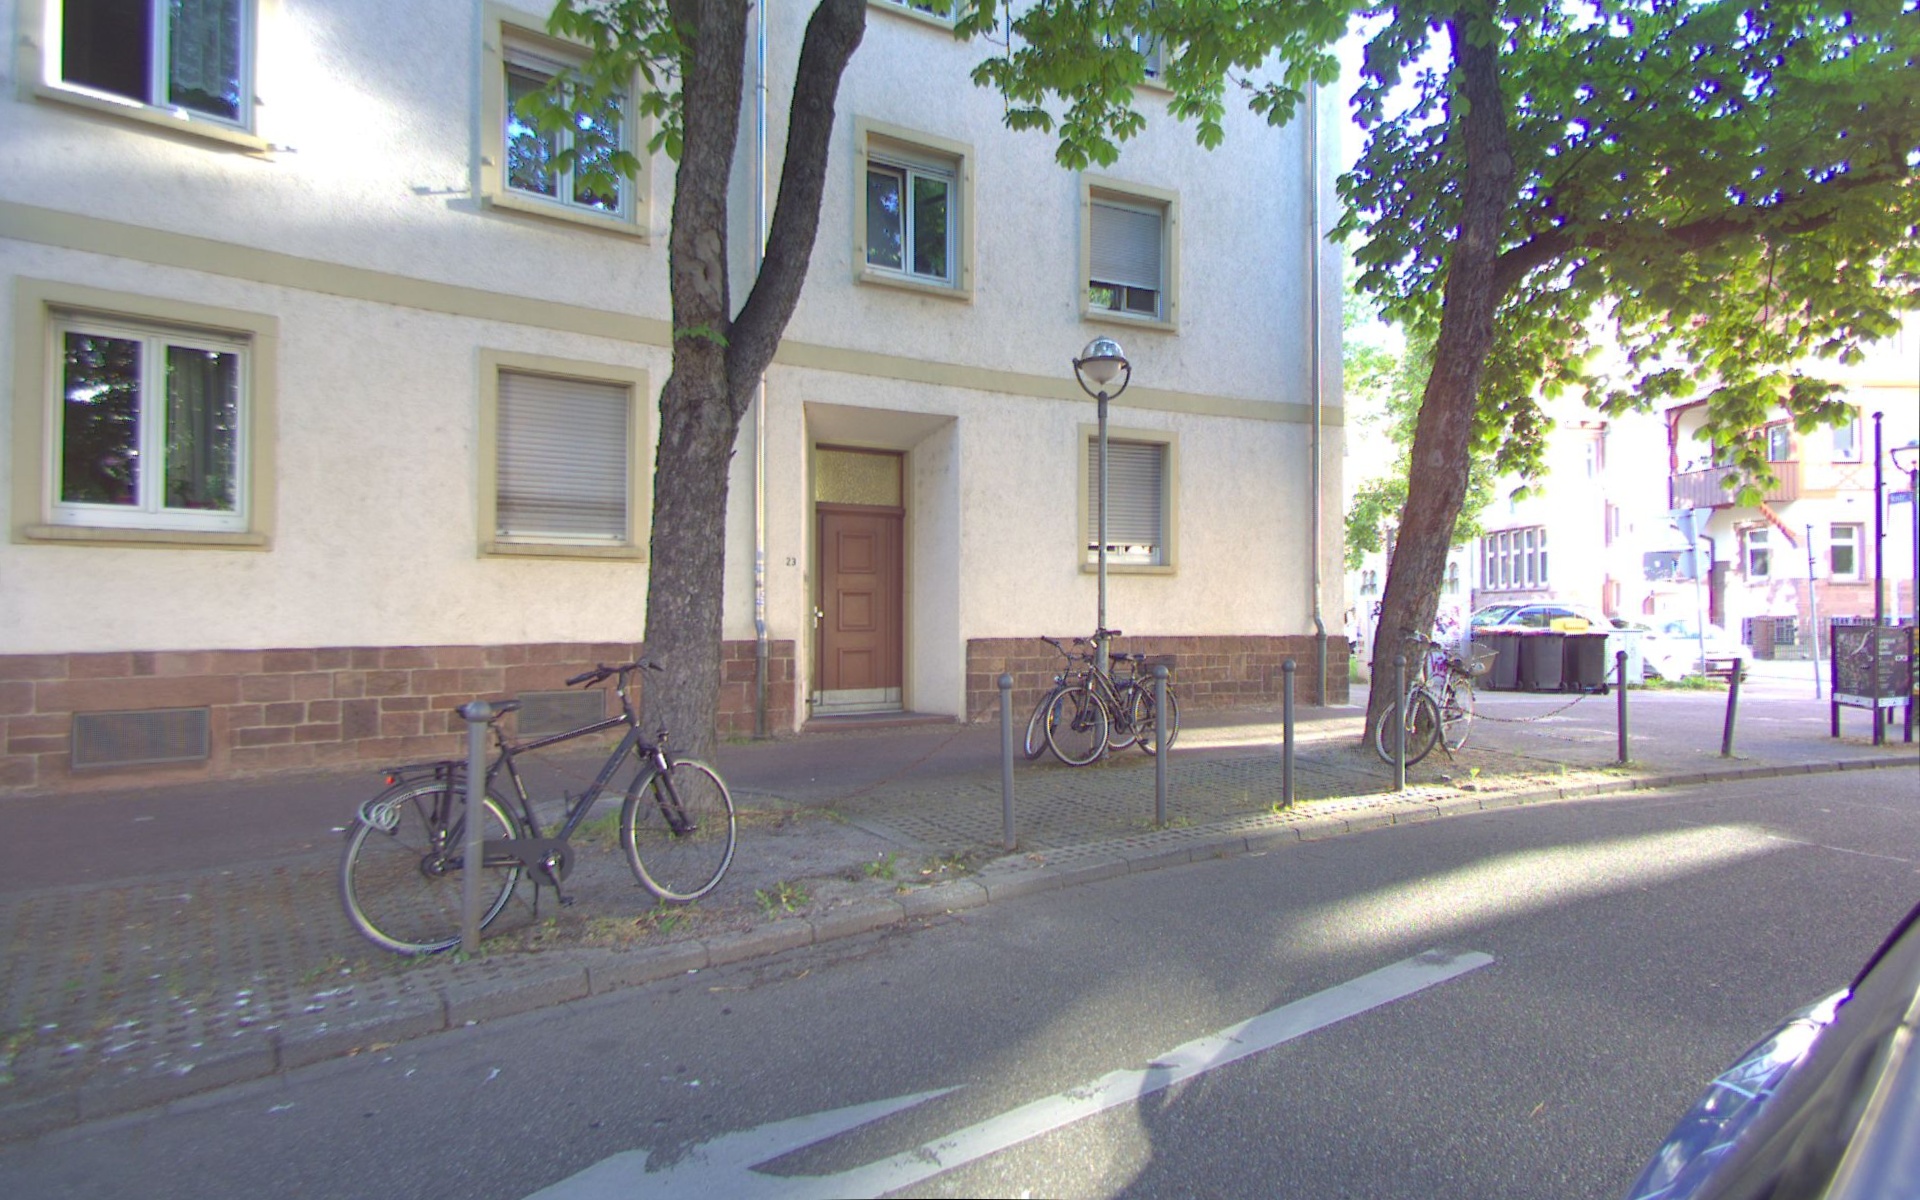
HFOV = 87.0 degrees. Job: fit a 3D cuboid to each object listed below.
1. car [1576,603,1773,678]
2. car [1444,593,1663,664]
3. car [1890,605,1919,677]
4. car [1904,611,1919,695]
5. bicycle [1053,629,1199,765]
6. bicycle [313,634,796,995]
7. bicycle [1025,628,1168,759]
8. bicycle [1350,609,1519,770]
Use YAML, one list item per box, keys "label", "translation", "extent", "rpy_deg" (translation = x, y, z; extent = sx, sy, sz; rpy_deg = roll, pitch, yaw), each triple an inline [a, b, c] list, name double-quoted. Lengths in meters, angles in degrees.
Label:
- label: "car"
  translation: [16.680, 0.896, 23.906]
  extent: [1.664, 1.572, 4.052]
  rpy_deg: [-2, -1, -1]
- label: "car"
  translation: [12.649, 0.593, 21.693]
  extent: [3.728, 1.443, 1.677]
  rpy_deg: [0, -1, -5]
- label: "car"
  translation: [21.771, 0.903, 21.216]
  extent: [1.463, 1.559, 3.217]
  rpy_deg: [1, 0, -3]
- label: "car"
  translation: [16.833, 0.863, 15.618]
  extent: [1.446, 1.407, 3.396]
  rpy_deg: [-2, -1, 5]
- label: "bicycle"
  translation: [1.517, 0.828, 9.089]
  extent: [1.607, 1.108, 0.334]
  rpy_deg: [0, -1, -41]
- label: "bicycle"
  translation: [-1.724, 0.798, 4.539]
  extent: [1.882, 1.238, 0.718]
  rpy_deg: [0, -1, -43]
- label: "bicycle"
  translation: [1.295, 0.826, 9.416]
  extent: [1.607, 1.108, 0.334]
  rpy_deg: [0, -1, -41]
- label: "bicycle"
  translation: [4.383, 0.749, 9.284]
  extent: [1.871, 1.321, 0.766]
  rpy_deg: [0, -1, -43]
